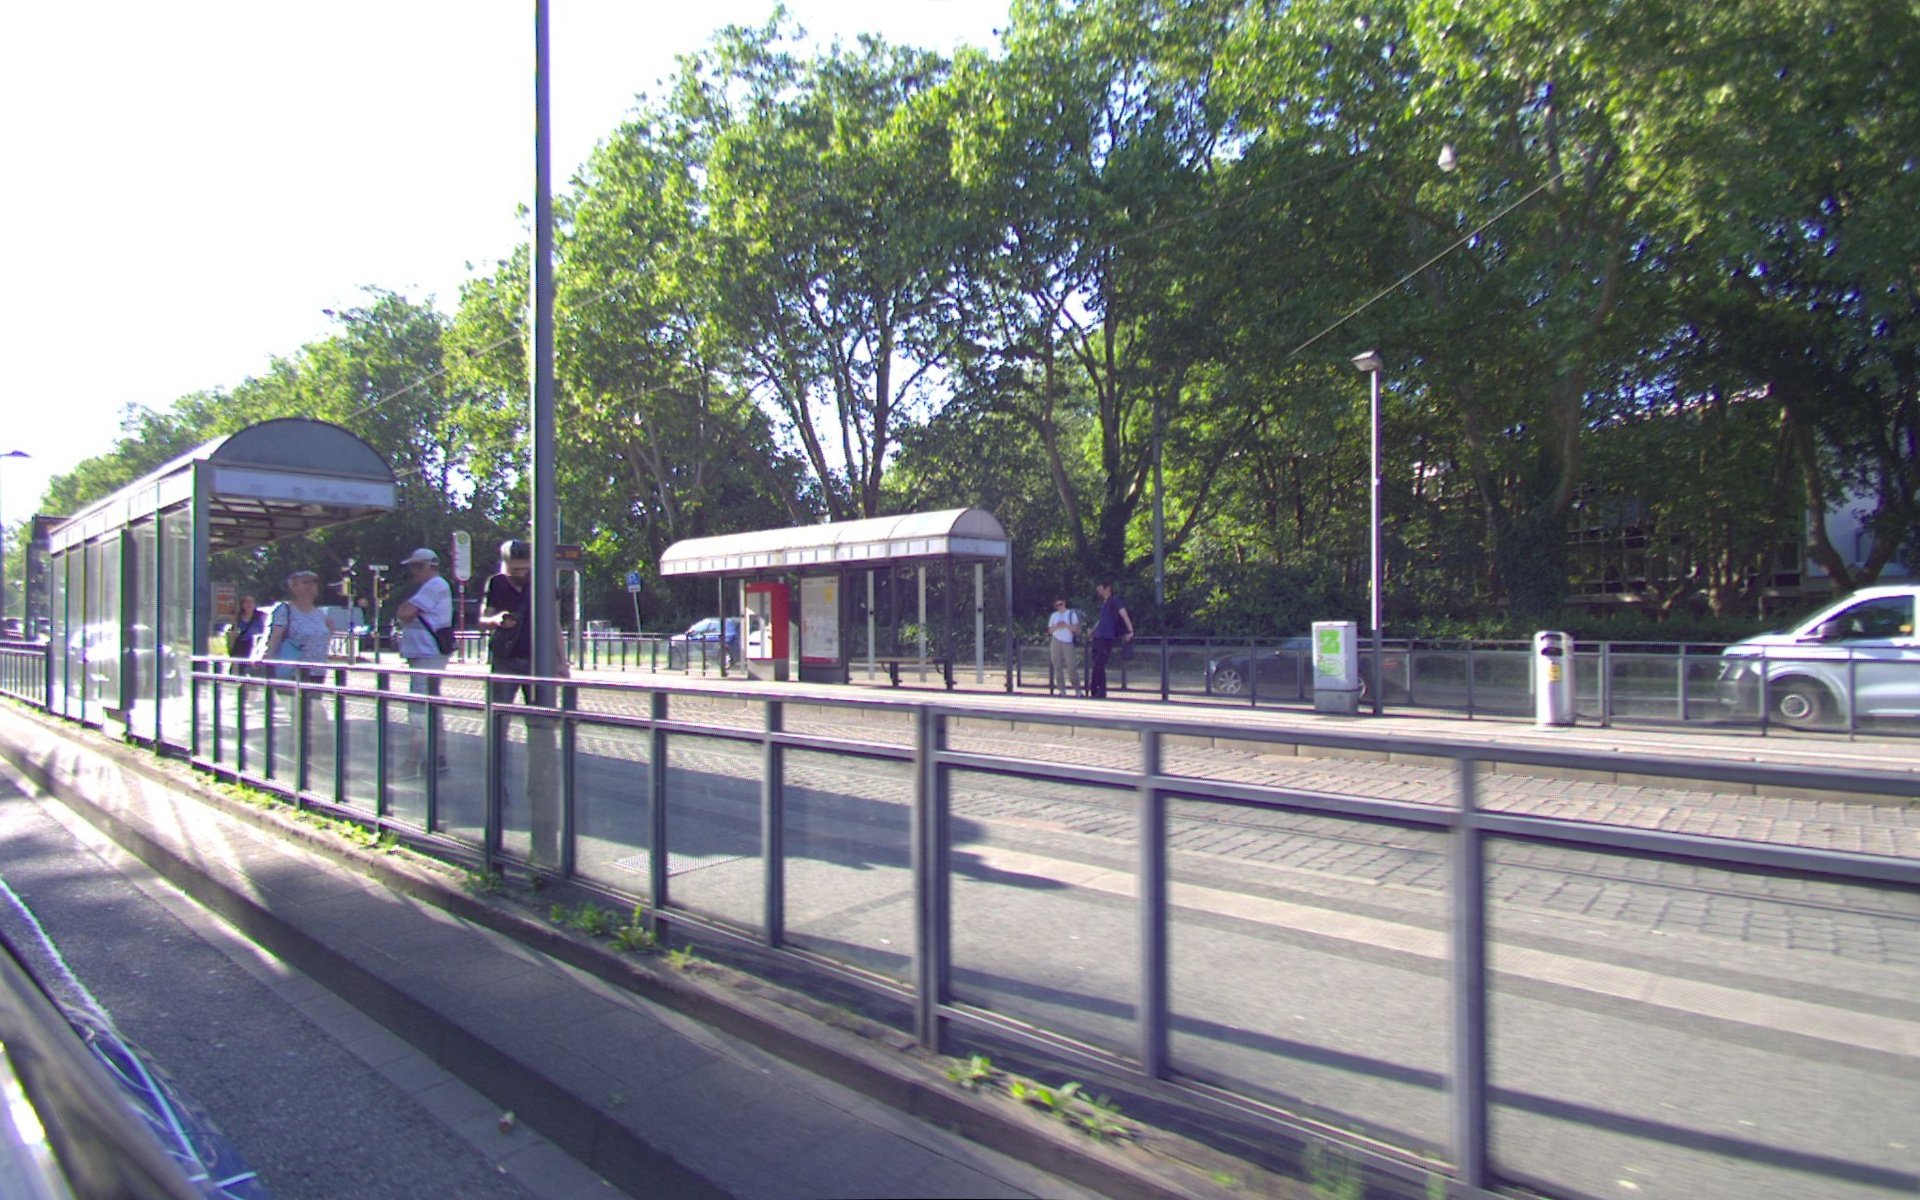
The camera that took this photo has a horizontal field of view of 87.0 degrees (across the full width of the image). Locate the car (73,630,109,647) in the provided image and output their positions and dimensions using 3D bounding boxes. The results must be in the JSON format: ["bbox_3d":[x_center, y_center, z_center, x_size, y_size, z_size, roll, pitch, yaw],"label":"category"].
[{"bbox_3d":[-81.894,3.659,95.375,4.390,1.517,1.809,-1,-3,39],"label":"car"}]

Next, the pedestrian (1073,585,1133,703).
[{"bbox_3d":[2.216,0.661,15.679,0.650,1.785,0.641,-1,0,44],"label":"pedestrian"}]

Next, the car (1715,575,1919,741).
[{"bbox_3d":[13.320,0.785,13.522,5.085,2.140,2.046,-1,-3,40],"label":"car"}]

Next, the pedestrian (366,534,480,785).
[{"bbox_3d":[-4.233,0.440,7.968,0.643,1.855,0.712,-1,0,-39],"label":"pedestrian"}]

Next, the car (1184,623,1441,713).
[{"bbox_3d":[6.682,1.232,19.442,4.337,1.522,1.776,-1,-3,40],"label":"car"}]

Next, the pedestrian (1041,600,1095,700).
[{"bbox_3d":[1.718,0.781,16.126,0.626,1.555,0.586,-1,0,42],"label":"pedestrian"}]

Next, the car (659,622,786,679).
[{"bbox_3d":[-7.596,1.583,32.249,3.967,1.664,1.884,-1,-3,38],"label":"car"}]

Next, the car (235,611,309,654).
[{"bbox_3d":[-43.224,2.015,63.522,6.044,2.540,2.161,-1,-3,39],"label":"car"}]

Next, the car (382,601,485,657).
[{"bbox_3d":[-25.436,1.397,48.797,6.027,2.540,2.161,-1,-3,40],"label":"car"}]

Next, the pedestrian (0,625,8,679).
[{"bbox_3d":[-27.042,1.445,28.293,0.514,1.483,0.514,-1,-4,42],"label":"pedestrian"}]

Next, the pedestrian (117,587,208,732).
[{"bbox_3d":[-9.830,0.708,12.477,0.791,1.707,0.734,-1,0,42],"label":"pedestrian"}]

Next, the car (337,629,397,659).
[{"bbox_3d":[-31.899,2.376,54.421,3.261,1.524,1.636,-1,-3,38],"label":"car"}]

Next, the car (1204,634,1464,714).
[{"bbox_3d":[7.002,1.339,19.180,4.311,1.302,1.752,-1,-3,40],"label":"car"}]

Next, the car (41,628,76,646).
[{"bbox_3d":[-95.896,3.937,107.599,4.385,1.732,1.811,0,-3,35],"label":"car"}]

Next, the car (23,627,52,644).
[{"bbox_3d":[-107.779,4.167,118.212,4.390,1.854,1.809,-1,-3,39],"label":"car"}]

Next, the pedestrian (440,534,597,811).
[{"bbox_3d":[-2.904,0.463,6.703,0.701,1.735,0.652,-1,0,6],"label":"pedestrian"}]

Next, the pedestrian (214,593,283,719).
[{"bbox_3d":[-9.267,0.711,13.174,0.650,1.579,0.582,-1,0,42],"label":"pedestrian"}]

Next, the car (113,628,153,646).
[{"bbox_3d":[-70.936,3.179,86.754,4.320,1.448,1.809,-1,-3,39],"label":"car"}]

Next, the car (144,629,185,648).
[{"bbox_3d":[-63.048,3.027,80.165,3.848,1.448,1.721,-1,-3,39],"label":"car"}]

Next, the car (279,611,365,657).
[{"bbox_3d":[-36.987,1.942,58.589,6.263,2.540,2.162,-1,-3,38],"label":"car"}]

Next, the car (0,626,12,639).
[{"bbox_3d":[-129.291,4.402,136.395,3.896,1.753,1.713,-1,-3,39],"label":"car"}]

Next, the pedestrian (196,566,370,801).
[{"bbox_3d":[-5.096,0.591,7.680,0.789,1.646,0.869,-2,0,-11],"label":"pedestrian"}]
